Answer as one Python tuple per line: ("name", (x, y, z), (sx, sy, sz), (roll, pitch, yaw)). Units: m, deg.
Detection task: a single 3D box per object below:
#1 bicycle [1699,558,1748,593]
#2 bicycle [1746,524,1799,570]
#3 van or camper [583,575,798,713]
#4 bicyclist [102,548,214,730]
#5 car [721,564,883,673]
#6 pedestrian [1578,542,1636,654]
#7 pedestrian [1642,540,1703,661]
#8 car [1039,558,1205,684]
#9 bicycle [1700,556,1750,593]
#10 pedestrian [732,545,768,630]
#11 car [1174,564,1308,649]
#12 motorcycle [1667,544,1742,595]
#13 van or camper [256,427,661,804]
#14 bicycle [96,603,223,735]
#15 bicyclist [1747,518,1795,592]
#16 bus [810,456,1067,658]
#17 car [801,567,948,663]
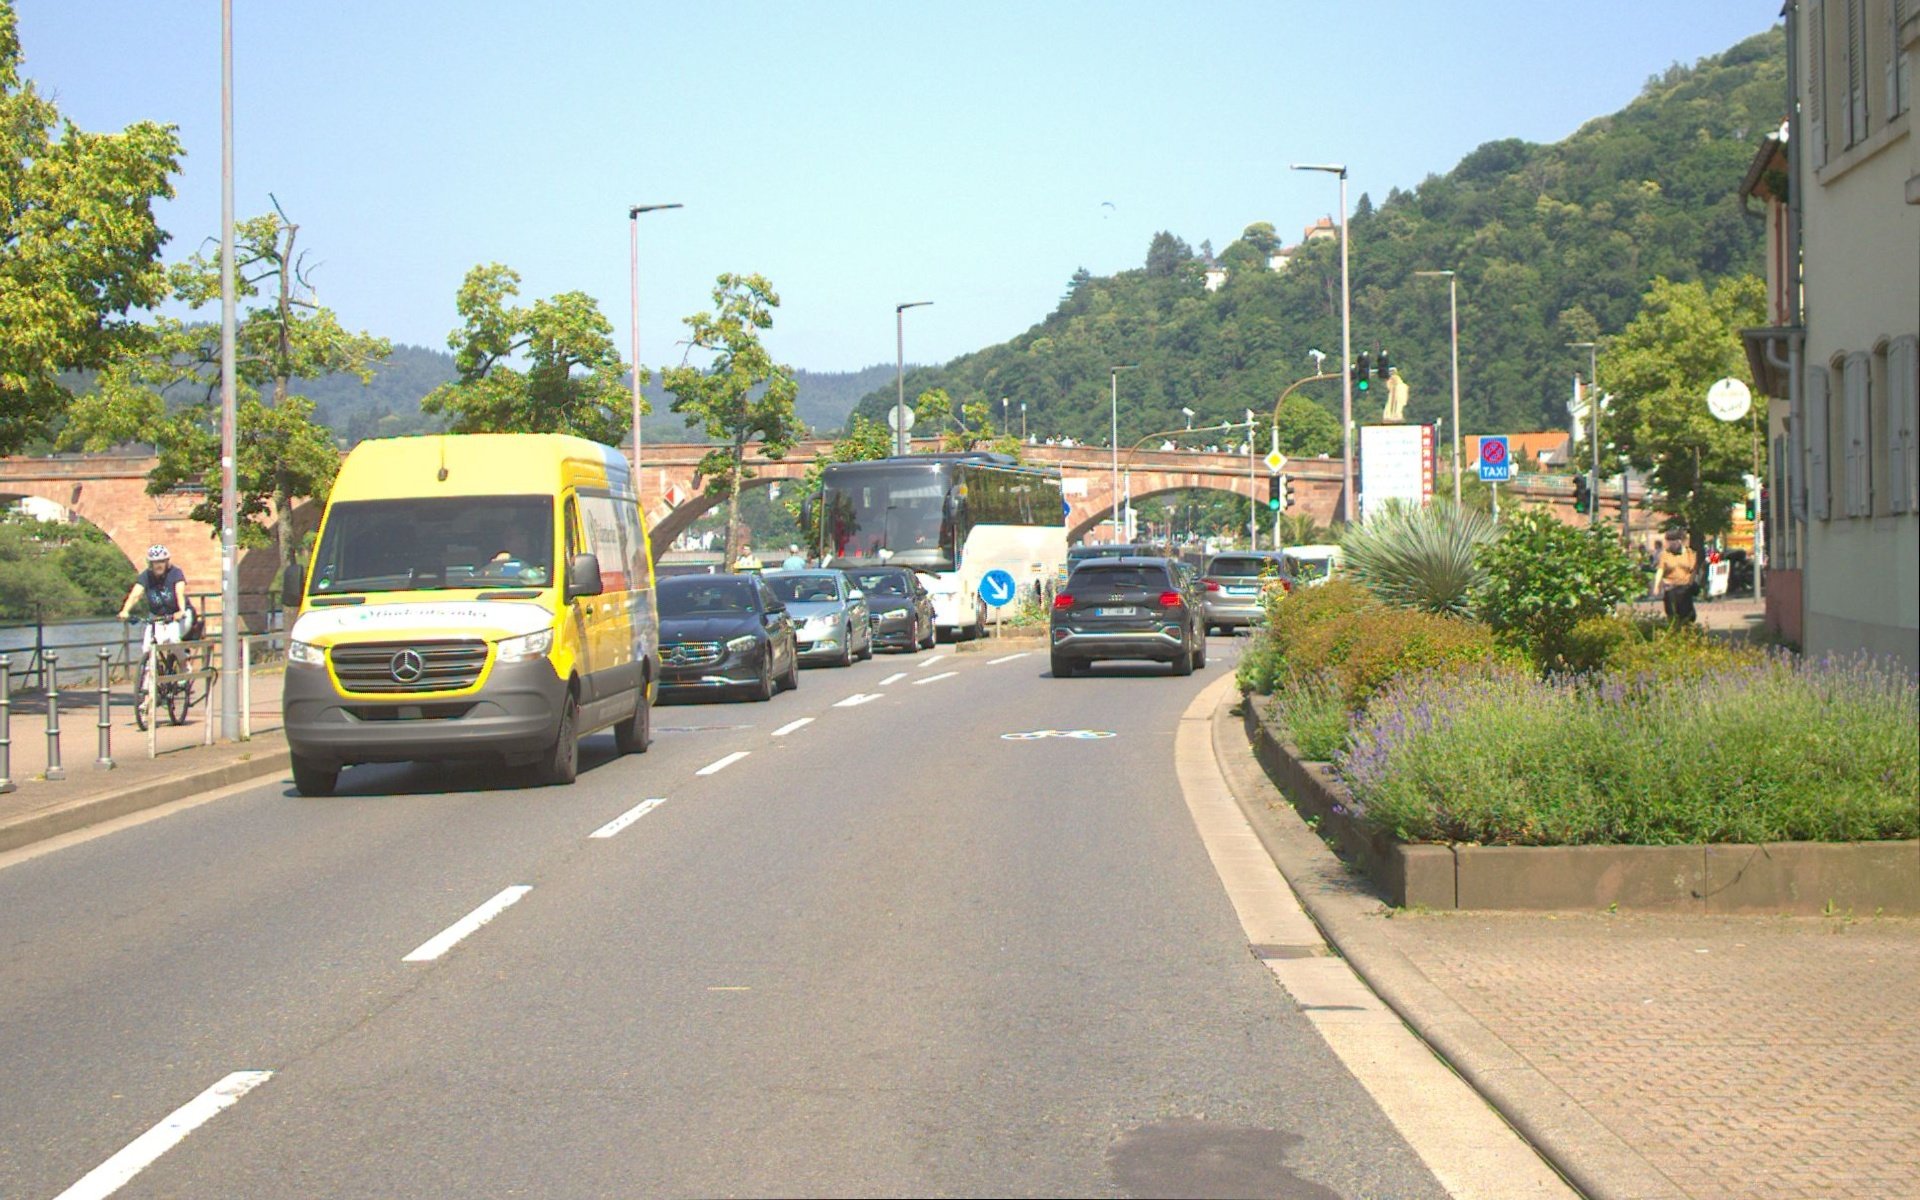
("bicycle", (24.034, -0.768, 108.238), (1.484, 1.043, 0.251), (-2, 0, 10))
("bicycle", (17.486, -1.131, 74.051), (0.750, 0.960, 1.782), (0, 0, 1))
("van or camper", (-3.121, 0.478, 40.722), (1.993, 1.450, 4.682), (-3, 0, 2))
("bicyclist", (-7.514, 0.351, 32.255), (0.740, 1.662, 1.089), (-1, 1, 1))
("car", (-2.291, 0.244, 50.975), (1.814, 1.423, 4.310), (-3, 1, 5))
("pedestrian", (9.262, -0.031, 49.260), (0.762, 1.590, 0.696), (-1, 0, 7))
("pedestrian", (10.183, 0.004, 49.135), (0.738, 1.693, 0.933), (-2, 0, 7))
("car", (2.174, 0.233, 44.969), (1.927, 1.548, 4.831), (0, 1, 5))
("bicycle", (24.024, -0.807, 107.990), (1.484, 1.116, 0.251), (-2, 0, 10))
("pedestrian", (-4.464, -0.268, 73.160), (0.620, 1.774, 0.662), (-1, 0, 7))
("car", (5.181, 0.089, 62.908), (1.927, 1.456, 4.830), (-1, 1, 11))
("motorcycle", (22.532, -0.907, 104.114), (0.762, 1.460, 2.298), (-1, -1, -34))
("van or camper", (-3.722, 0.084, 26.963), (2.087, 2.548, 7.092), (0, 0, 0))
("bicycle", (-7.511, 0.631, 32.336), (0.711, 1.164, 1.896), (0, 1, 1))
("bicyclist", (17.493, -0.972, 74.191), (0.766, 1.578, 1.089), (-1, 0, 1))
("bus", (-0.196, -0.758, 67.788), (2.632, 3.552, 12.977), (-1, 0, 10))
("car", (-1.360, 0.219, 56.492), (1.817, 1.424, 4.192), (-2, 1, 6))
